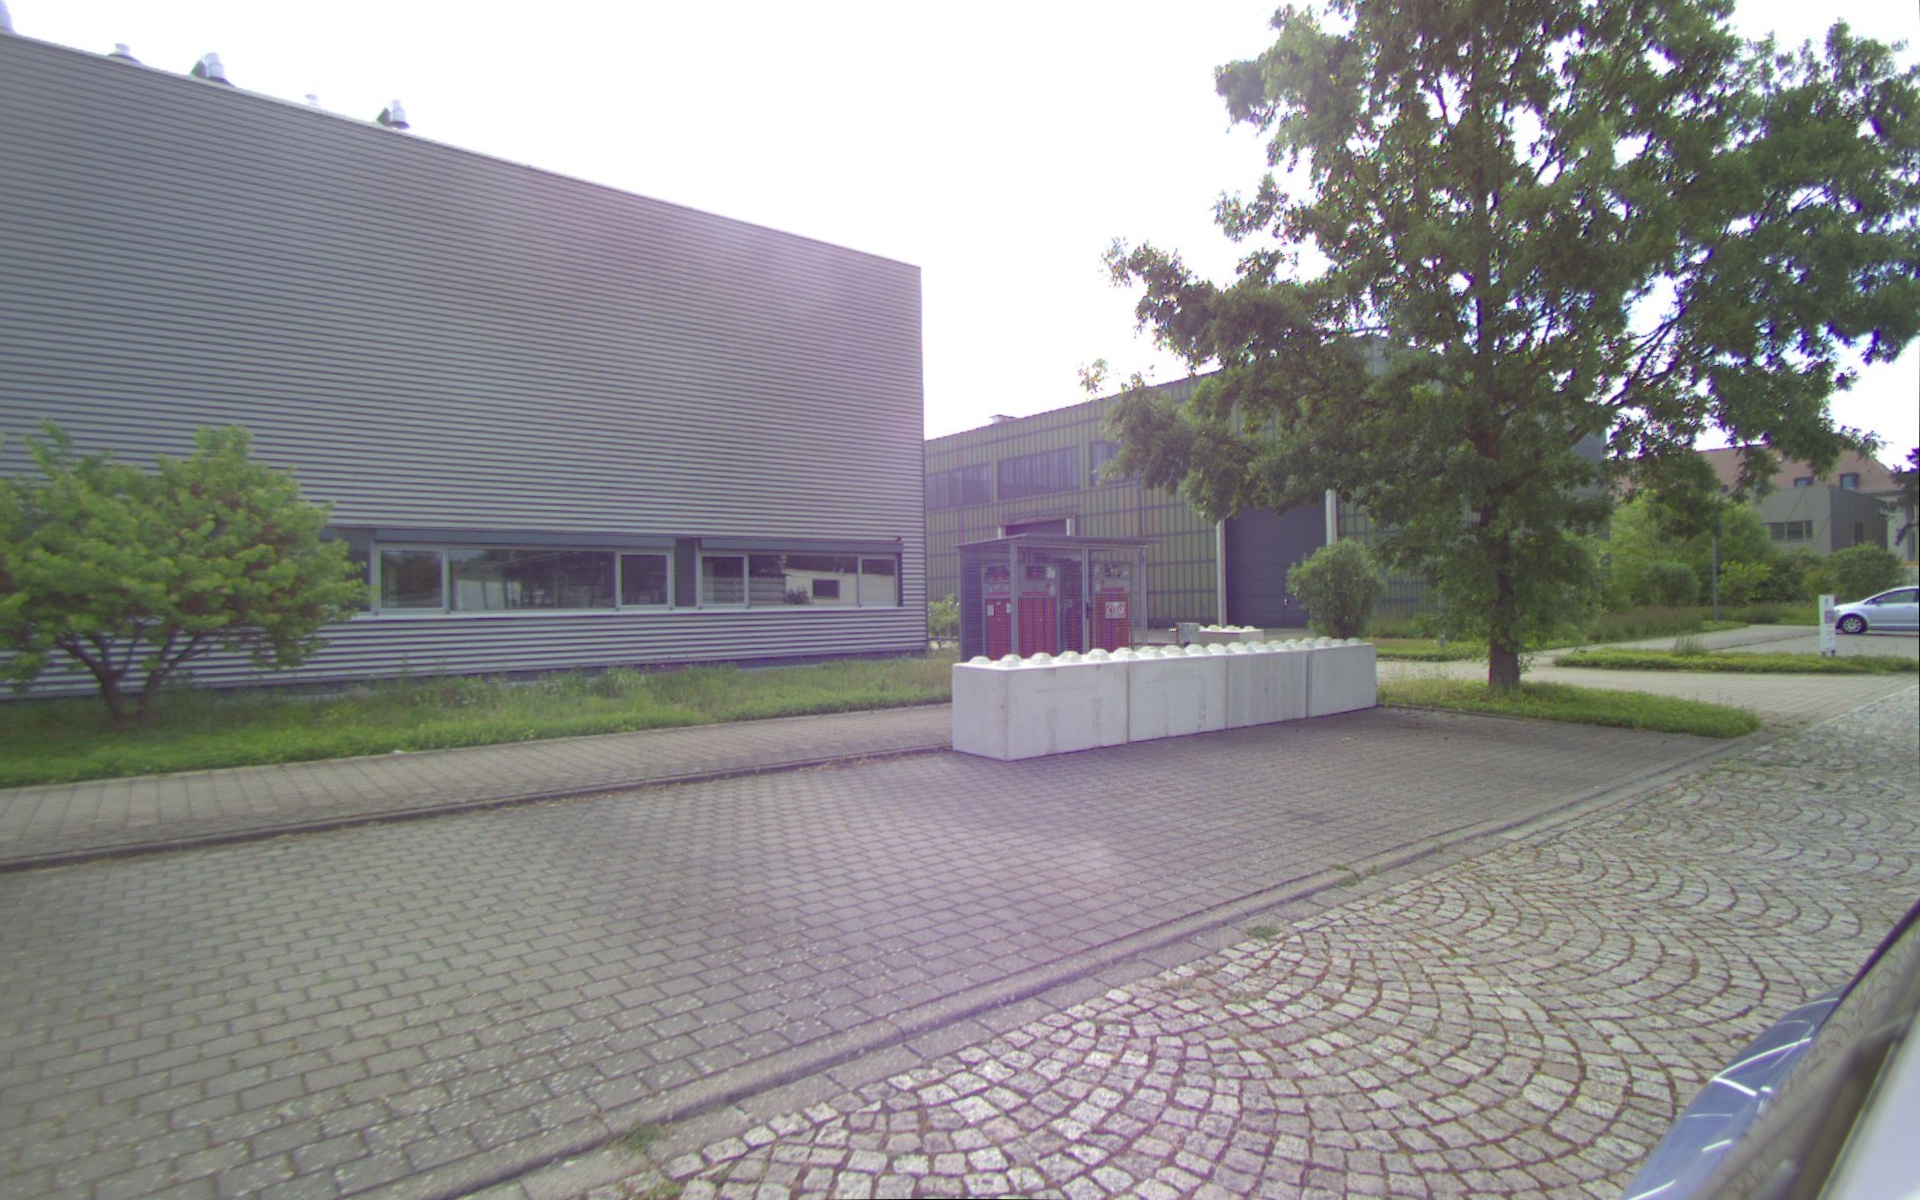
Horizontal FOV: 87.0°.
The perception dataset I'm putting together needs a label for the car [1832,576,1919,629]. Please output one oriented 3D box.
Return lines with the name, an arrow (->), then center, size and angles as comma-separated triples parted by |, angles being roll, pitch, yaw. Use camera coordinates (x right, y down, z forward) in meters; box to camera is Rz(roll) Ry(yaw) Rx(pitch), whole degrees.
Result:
car -> 30.379, 0.066, 31.938 | 1.906, 1.645, 4.127 | -1, 2, -41
